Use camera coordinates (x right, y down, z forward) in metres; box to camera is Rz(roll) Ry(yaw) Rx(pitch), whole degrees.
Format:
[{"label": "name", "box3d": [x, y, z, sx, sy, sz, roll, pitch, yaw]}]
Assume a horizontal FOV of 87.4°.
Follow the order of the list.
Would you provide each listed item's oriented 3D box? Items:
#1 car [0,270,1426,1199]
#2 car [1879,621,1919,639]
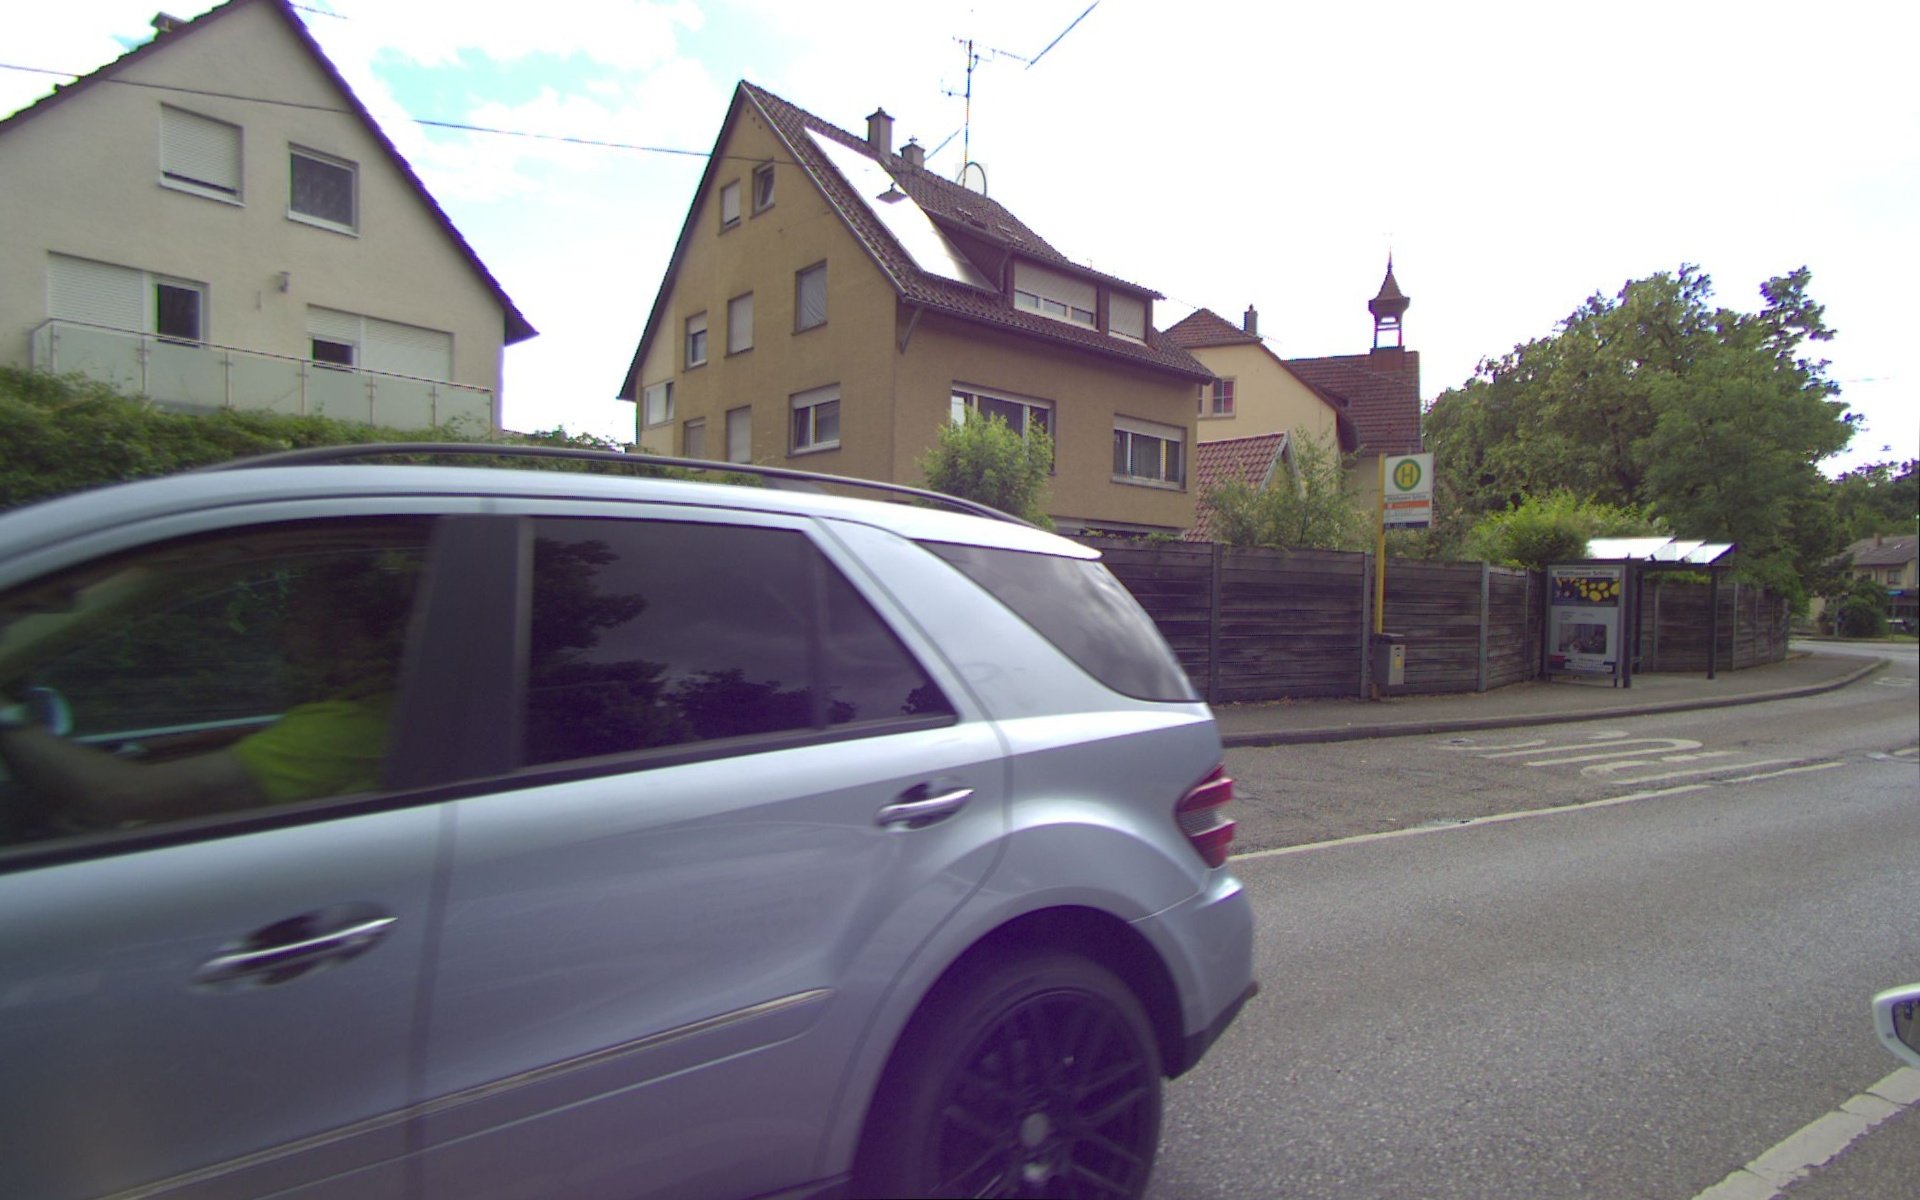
[{"label": "car", "box3d": [-1.261, 0.510, 2.175, 4.640, 1.747, 1.925, 1, -1, -32]}, {"label": "car", "box3d": [82.909, 2.623, 87.430, 3.922, 1.506, 1.760, 0, -1, 21]}]
